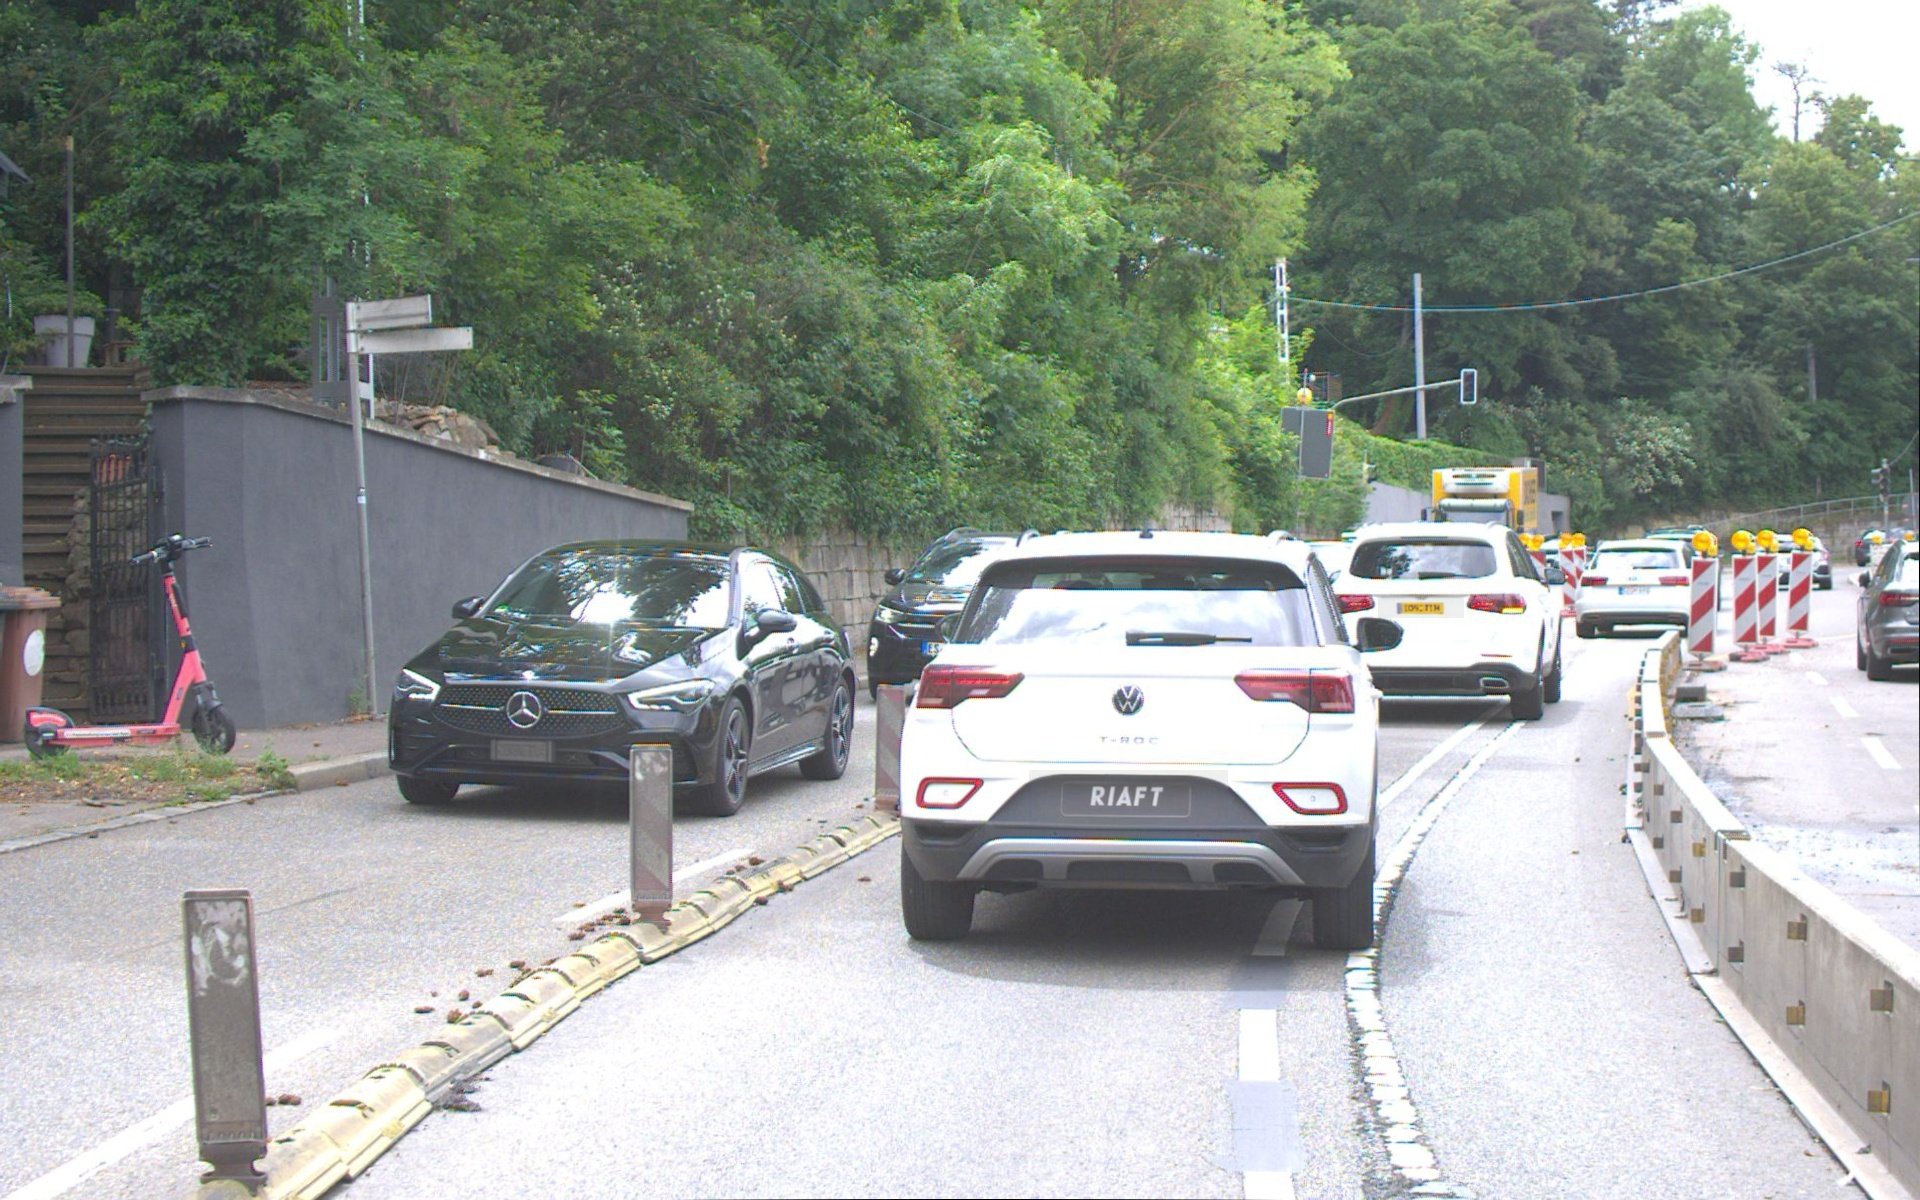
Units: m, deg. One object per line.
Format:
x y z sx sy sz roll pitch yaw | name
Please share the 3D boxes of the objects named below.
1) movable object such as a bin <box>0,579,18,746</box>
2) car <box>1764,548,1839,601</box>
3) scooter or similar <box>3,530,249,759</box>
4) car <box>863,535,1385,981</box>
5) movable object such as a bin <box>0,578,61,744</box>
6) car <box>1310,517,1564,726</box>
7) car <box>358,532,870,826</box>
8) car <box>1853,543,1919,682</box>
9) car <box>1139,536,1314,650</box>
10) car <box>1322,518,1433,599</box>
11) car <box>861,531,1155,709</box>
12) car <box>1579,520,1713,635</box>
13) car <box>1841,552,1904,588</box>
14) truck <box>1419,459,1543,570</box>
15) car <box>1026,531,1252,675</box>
-5.859 0.365 20.013 0.549 0.973 0.509 0 0 13 | movable object such as a bin
22.287 -0.684 91.168 1.795 1.363 3.998 0 1 12 | car
-4.639 0.244 19.126 1.308 1.251 0.467 1 1 -15 | scooter or similar
0.811 0.519 14.030 1.810 1.526 3.999 1 1 7 | car
-5.753 0.359 20.572 0.549 0.973 0.509 0 0 13 | movable object such as a bin
4.151 0.128 29.442 1.811 1.657 3.998 0 1 13 | car
-1.827 0.359 19.598 1.768 1.430 4.307 2 1 10 | car
10.269 0.095 35.789 1.795 1.363 3.998 0 1 13 | car
3.739 -0.125 47.564 1.768 1.447 4.306 2 1 13 | car
8.107 -0.810 66.476 1.768 1.447 4.307 2 1 11 | car
0.513 0.134 31.191 1.768 1.447 4.306 2 1 13 | car
10.392 -0.364 51.926 1.811 1.657 3.998 0 1 14 | car
34.938 -1.162 131.588 1.796 1.363 3.995 0 1 23 | car
15.364 -2.453 101.039 2.906 3.144 7.579 0 1 14 | truck
2.057 -0.003 38.281 1.768 1.447 4.306 2 1 13 | car
